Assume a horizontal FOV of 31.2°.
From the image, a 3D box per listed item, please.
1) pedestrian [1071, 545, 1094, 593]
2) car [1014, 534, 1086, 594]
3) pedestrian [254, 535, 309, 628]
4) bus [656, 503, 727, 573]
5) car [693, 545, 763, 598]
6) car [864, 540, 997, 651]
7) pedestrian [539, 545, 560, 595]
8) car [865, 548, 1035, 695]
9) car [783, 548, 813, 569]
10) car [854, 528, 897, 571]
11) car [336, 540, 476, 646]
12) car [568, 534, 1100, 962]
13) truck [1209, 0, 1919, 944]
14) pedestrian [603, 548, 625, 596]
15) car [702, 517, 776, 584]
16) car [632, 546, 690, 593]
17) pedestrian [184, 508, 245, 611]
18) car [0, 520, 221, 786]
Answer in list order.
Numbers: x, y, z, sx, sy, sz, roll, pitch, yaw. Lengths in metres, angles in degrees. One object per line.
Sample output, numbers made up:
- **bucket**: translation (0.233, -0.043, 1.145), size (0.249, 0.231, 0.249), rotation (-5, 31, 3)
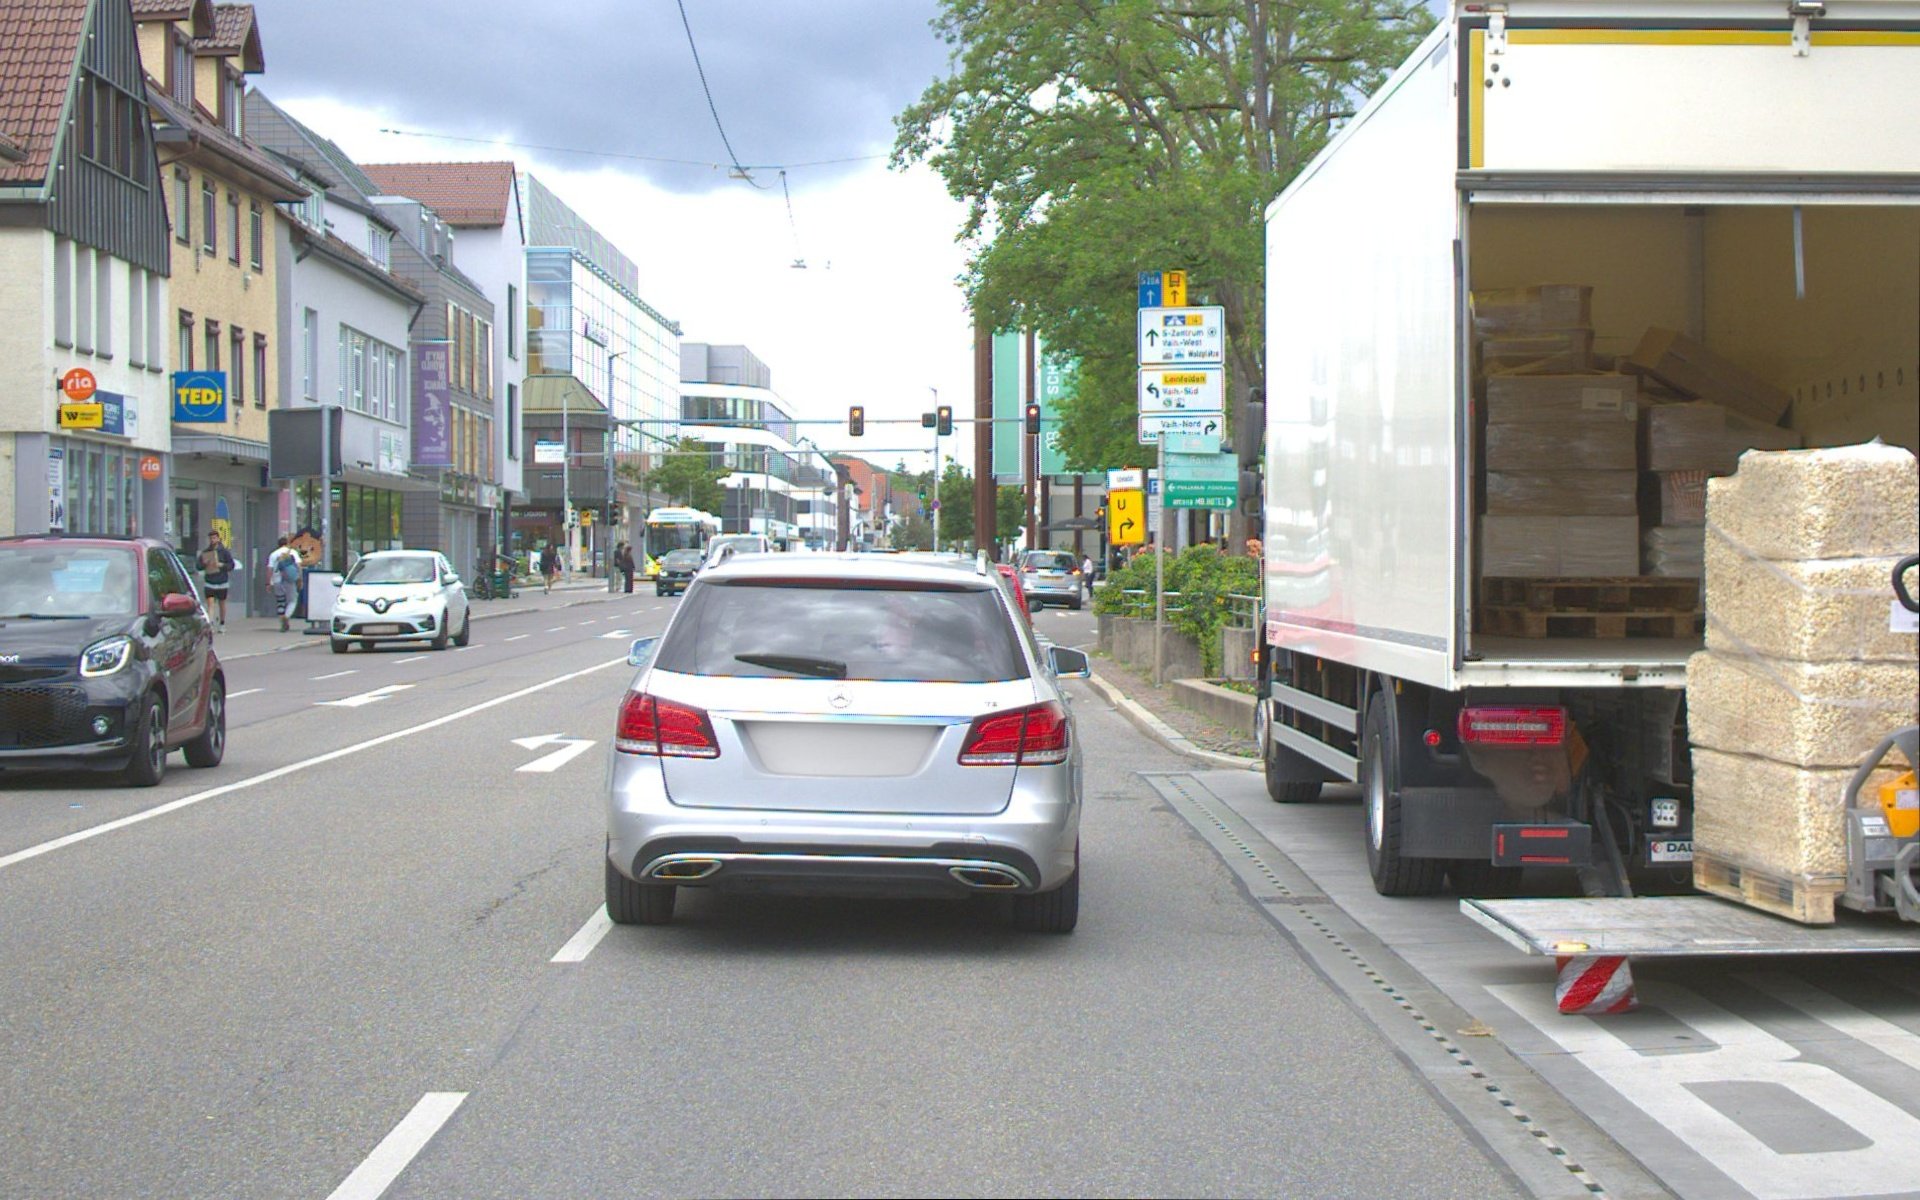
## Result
- **pedestrian**: translation (4.201, -1.072, 118.087), size (0.613, 1.629, 0.588), rotation (3, 1, -9)
- **car**: translation (2.590, -1.055, 99.716), size (1.993, 1.678, 4.000), rotation (0, 1, 0)
- **pedestrian**: translation (-12.175, -0.345, 61.721), size (0.816, 1.629, 0.980), rotation (2, 1, -6)
- **bus**: translation (-12.342, -2.866, 158.345), size (2.775, 3.154, 5.933), rotation (0, 1, 0)
- **car**: translation (-6.405, -0.800, 95.078), size (1.617, 1.423, 3.922), rotation (0, 1, 0)
- **car**: translation (-0.441, -0.100, 53.884), size (1.993, 1.678, 4.000), rotation (0, 1, 0)
- **pedestrian**: translation (-13.651, -0.989, 114.364), size (0.586, 1.629, 0.615), rotation (3, 1, -2)
- **car**: translation (-0.109, 0.206, 37.584), size (1.754, 1.515, 4.000), rotation (0, 0, 0)
- **car**: translation (-9.510, -2.435, 201.581), size (1.575, 1.240, 3.606), rotation (0, 1, 0)
- **car**: translation (-4.009, -2.416, 164.086), size (1.993, 2.007, 4.000), rotation (0, 1, -1)
- **car**: translation (-8.563, -0.117, 53.352), size (1.639, 1.562, 3.927), rotation (-1, 0, -2)
- **car**: translation (-0.521, 0.506, 14.233), size (1.874, 1.501, 4.000), rotation (1, 1, -2)
- **truck**: translation (3.001, -0.613, 17.272), size (2.688, 3.549, 9.767), rotation (0, 1, -1)
- **pedestrian**: translation (-12.027, -0.992, 119.537), size (0.613, 1.629, 0.588), rotation (3, 1, -2)
- **car**: translation (-6.781, -1.517, 105.902), size (1.961, 1.954, 5.140), rotation (-1, 1, 0)
- **car**: translation (-9.981, -1.037, 115.011), size (1.617, 1.518, 3.508), rotation (-1, 1, 0)
- **pedestrian**: translation (-12.999, -0.705, 59.965), size (0.867, 1.740, 0.806), rotation (3, 1, -5)
- **car**: translation (-5.729, 0.305, 21.683), size (1.570, 1.535, 2.961), rotation (-2, 1, -3)
